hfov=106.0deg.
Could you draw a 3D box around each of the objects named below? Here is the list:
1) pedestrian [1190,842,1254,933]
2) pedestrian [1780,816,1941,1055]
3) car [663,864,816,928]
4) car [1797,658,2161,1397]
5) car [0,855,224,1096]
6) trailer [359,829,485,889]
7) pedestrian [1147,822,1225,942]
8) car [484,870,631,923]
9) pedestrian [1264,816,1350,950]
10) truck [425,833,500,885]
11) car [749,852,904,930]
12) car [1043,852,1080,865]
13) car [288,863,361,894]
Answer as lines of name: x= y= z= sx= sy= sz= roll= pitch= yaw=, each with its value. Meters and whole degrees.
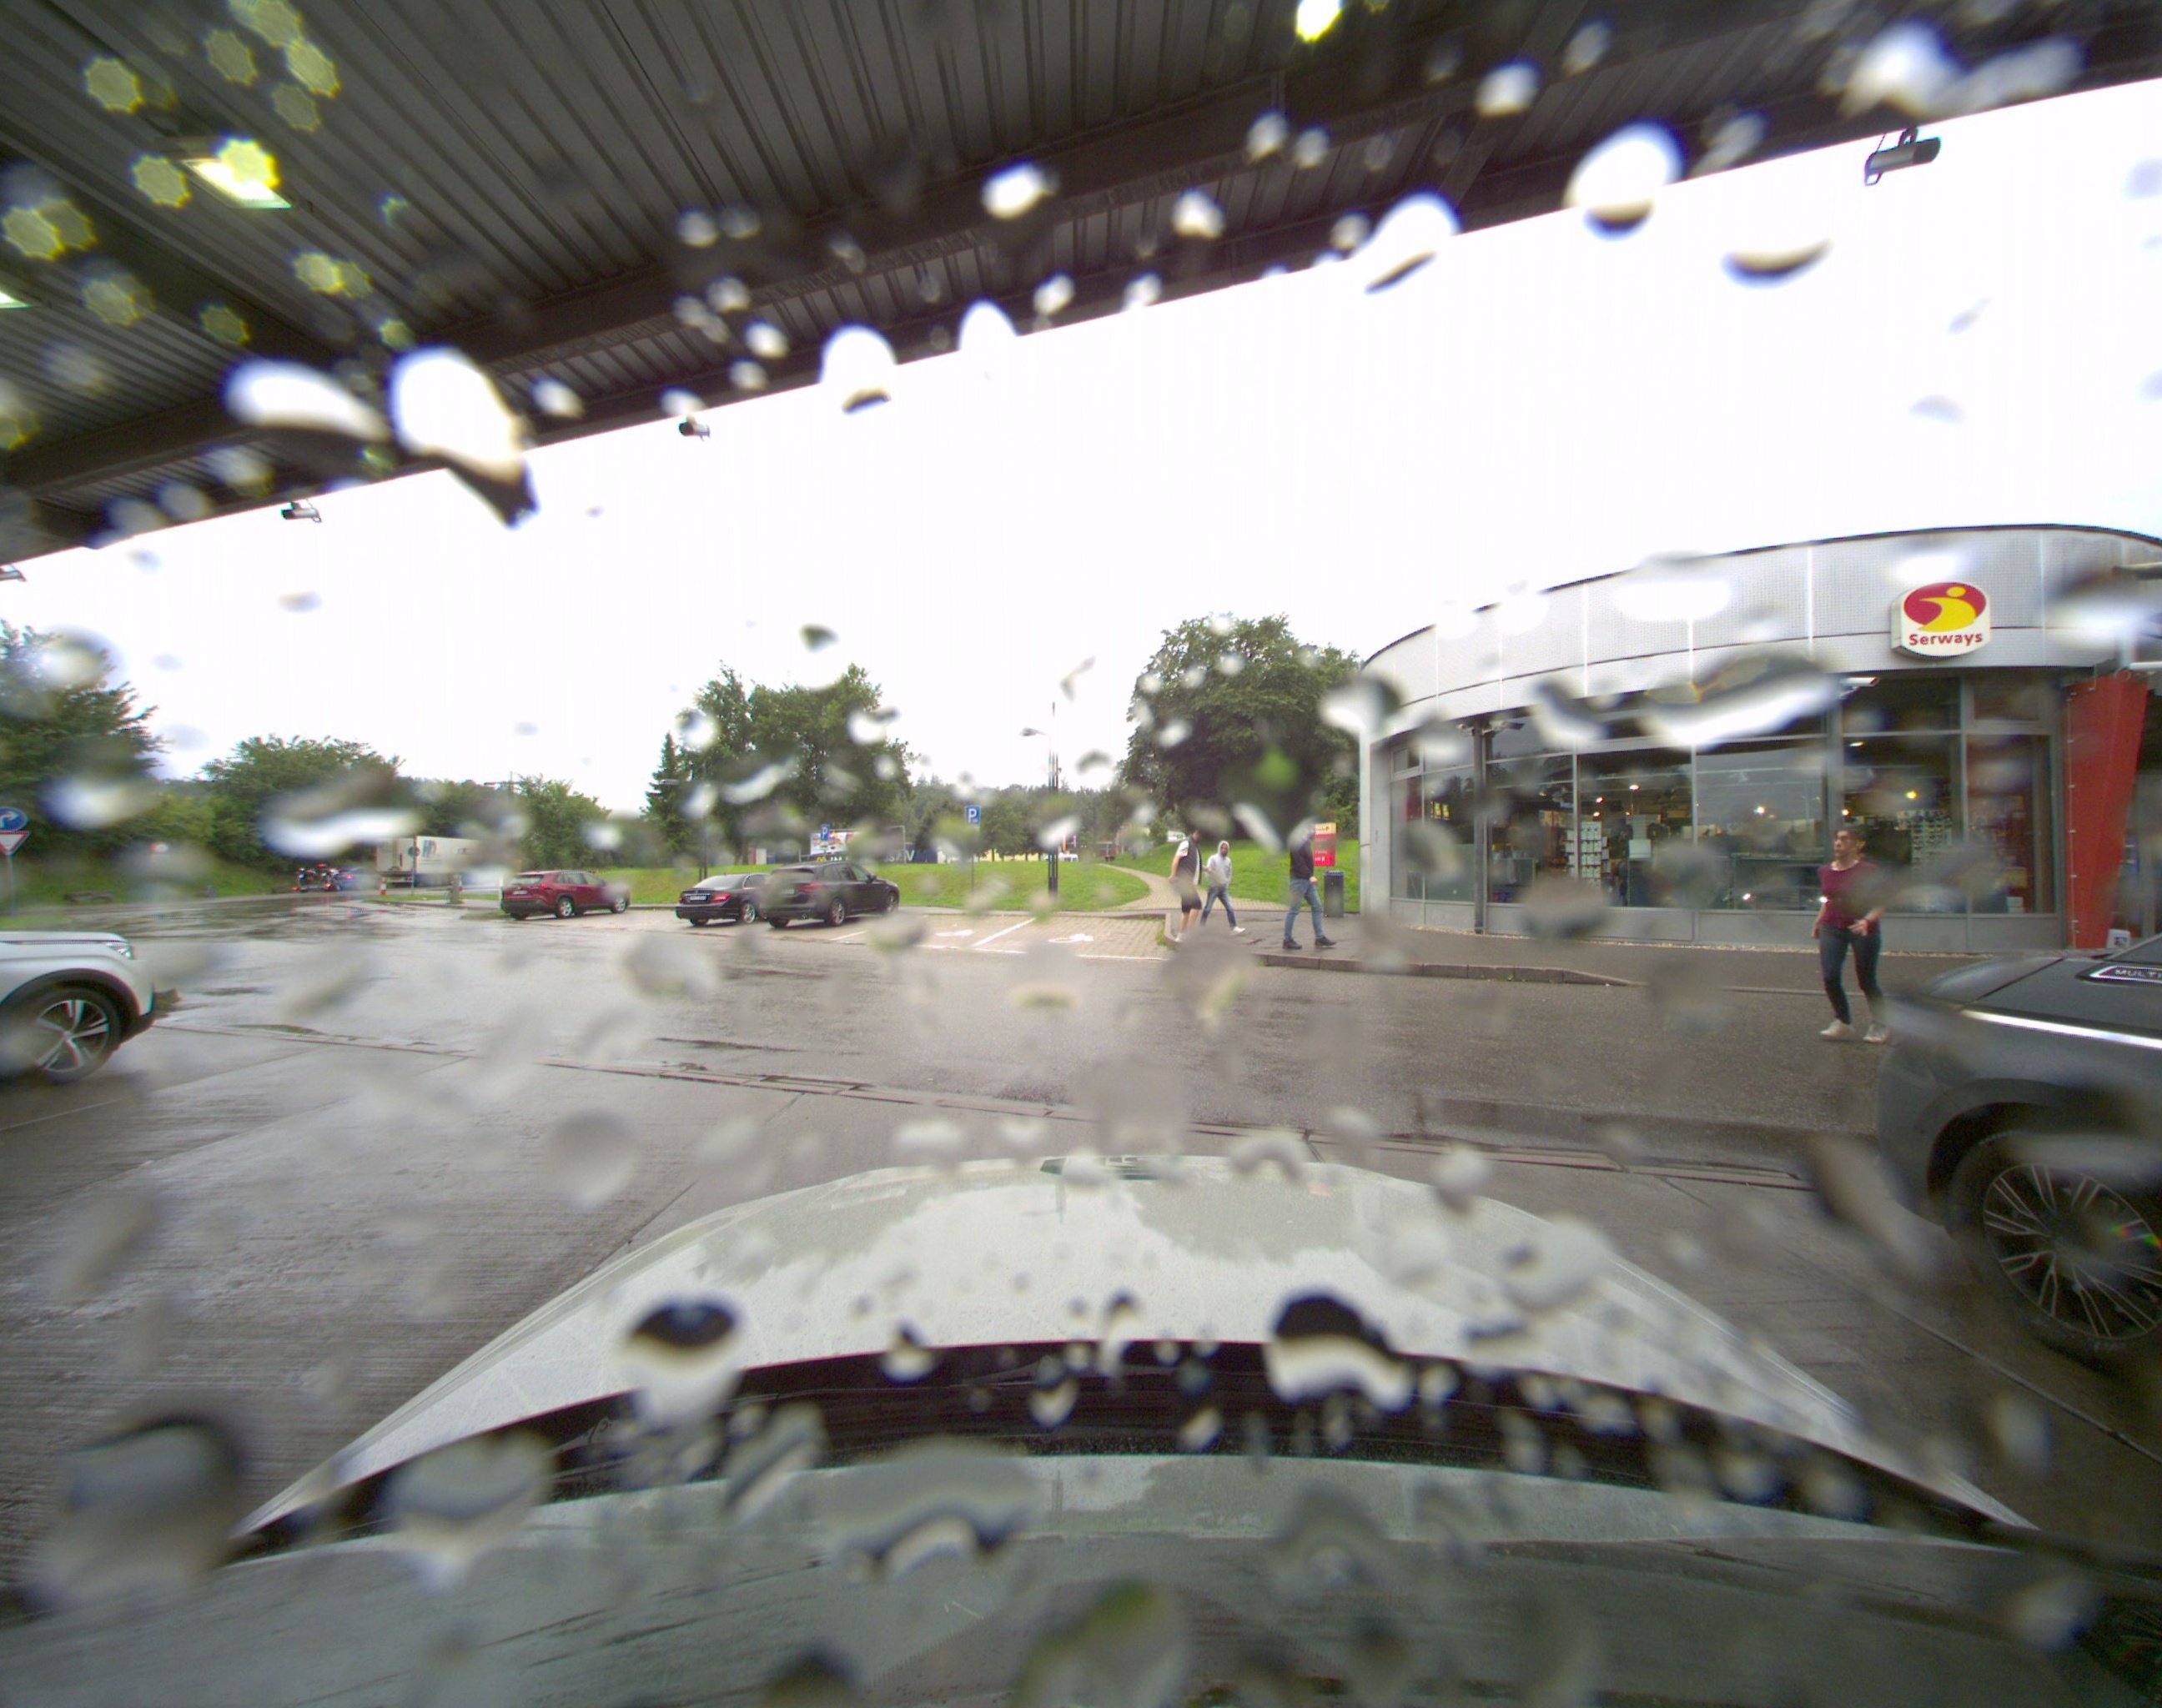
pedestrian: x=2.471 y=0.572 z=14.302 sx=0.880 sy=1.550 sz=0.665 roll=-2 pitch=0 yaw=31
pedestrian: x=6.157 y=0.593 z=6.490 sx=0.786 sy=1.734 sz=0.845 roll=-2 pitch=-1 yaw=37
car: x=-9.614 y=1.137 z=23.313 sx=1.871 sy=1.565 sz=4.200 roll=-2 pitch=0 yaw=13
car: x=3.718 y=0.452 z=1.244 sx=1.809 sy=1.948 sz=4.002 roll=-1 pitch=0 yaw=2
car: x=-7.882 y=0.794 z=4.172 sx=1.810 sy=1.565 sz=4.999 roll=0 pitch=0 yaw=-2
trailer: x=-54.880 y=0.425 z=68.499 sx=3.466 sy=4.557 sz=13.827 roll=0 pitch=-1 yaw=-18
pedestrian: x=1.688 y=0.436 z=13.040 sx=0.963 sy=1.848 sz=0.778 roll=-2 pitch=0 yaw=30
car: x=-18.155 y=1.416 z=28.538 sx=1.873 sy=1.596 sz=4.364 roll=-2 pitch=0 yaw=8
pedestrian: x=3.304 y=0.410 z=11.882 sx=0.989 sy=1.864 sz=0.804 roll=-2 pitch=0 yaw=30
truck: x=-57.102 y=0.498 z=75.439 sx=3.467 sy=4.557 sz=6.694 roll=0 pitch=-1 yaw=-18
car: x=-6.613 y=0.887 z=21.756 sx=1.871 sy=1.828 sz=4.429 roll=-2 pitch=0 yaw=13
car: x=-3.193 y=0.797 z=134.036 sx=5.376 sy=2.013 sz=2.468 roll=-1 pitch=0 yaw=21
car: x=-49.220 y=1.537 z=53.113 sx=1.934 sy=1.838 sz=4.361 roll=-1 pitch=0 yaw=-20
